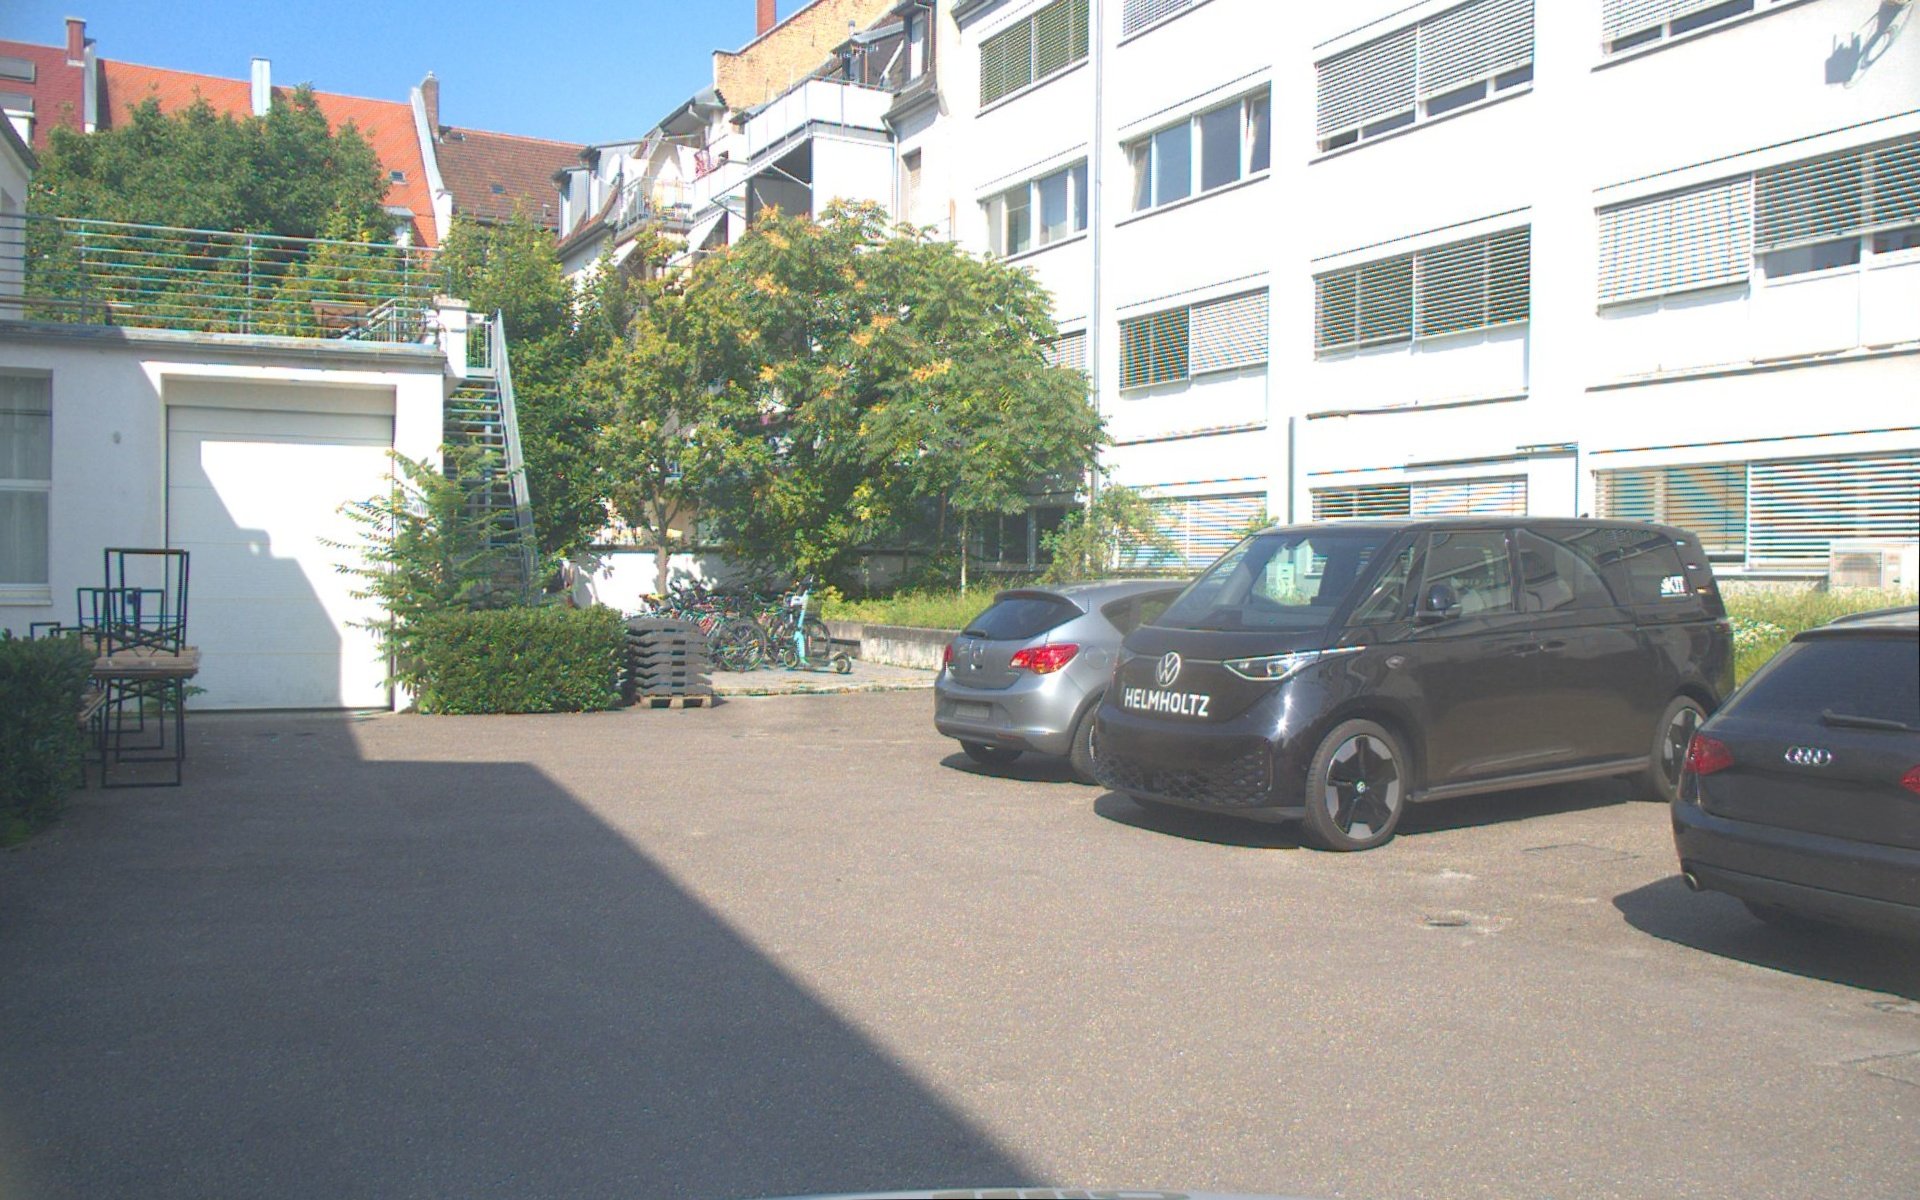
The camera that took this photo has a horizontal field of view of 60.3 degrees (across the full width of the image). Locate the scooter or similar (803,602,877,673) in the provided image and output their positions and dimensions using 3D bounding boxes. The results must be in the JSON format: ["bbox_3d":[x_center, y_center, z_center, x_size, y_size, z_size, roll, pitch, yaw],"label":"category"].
[{"bbox_3d":[-1.673,0.512,22.943,0.978,0.940,0.359,2,1,30],"label":"scooter or similar"}]

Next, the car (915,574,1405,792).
[{"bbox_3d":[1.678,0.552,13.309,3.866,1.491,1.642,-1,2,-36],"label":"car"}]

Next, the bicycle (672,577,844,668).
[{"bbox_3d":[-2.878,0.326,23.646,2.378,1.268,0.523,1,1,-23],"label":"bicycle"}]

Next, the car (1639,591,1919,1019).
[{"bbox_3d":[5.077,0.710,7.020,4.178,1.462,1.678,0,1,-25],"label":"car"}]

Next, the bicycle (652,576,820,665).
[{"bbox_3d":[-3.293,0.307,24.386,2.378,1.268,0.523,1,1,-23],"label":"bicycle"}]

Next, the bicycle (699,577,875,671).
[{"bbox_3d":[-2.407,0.347,23.112,2.378,1.268,0.523,1,1,-23],"label":"bicycle"}]

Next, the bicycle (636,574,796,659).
[{"bbox_3d":[-3.763,0.267,25.566,2.378,1.268,0.523,1,1,-23],"label":"bicycle"}]

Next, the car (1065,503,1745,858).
[{"bbox_3d":[2.967,0.386,10.765,4.293,1.891,1.894,-1,2,-32],"label":"car"}]

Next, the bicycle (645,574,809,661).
[{"bbox_3d":[-3.507,0.276,24.942,2.378,1.268,0.523,1,1,-23],"label":"bicycle"}]

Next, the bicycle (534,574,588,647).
[{"bbox_3d":[-6.781,0.160,28.188,0.478,1.163,1.994,0,2,-1],"label":"bicycle"}]

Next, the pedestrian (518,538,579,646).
[{"bbox_3d":[-6.997,-0.142,28.146,0.841,1.802,0.611,1,0,-1],"label":"pedestrian"}]
